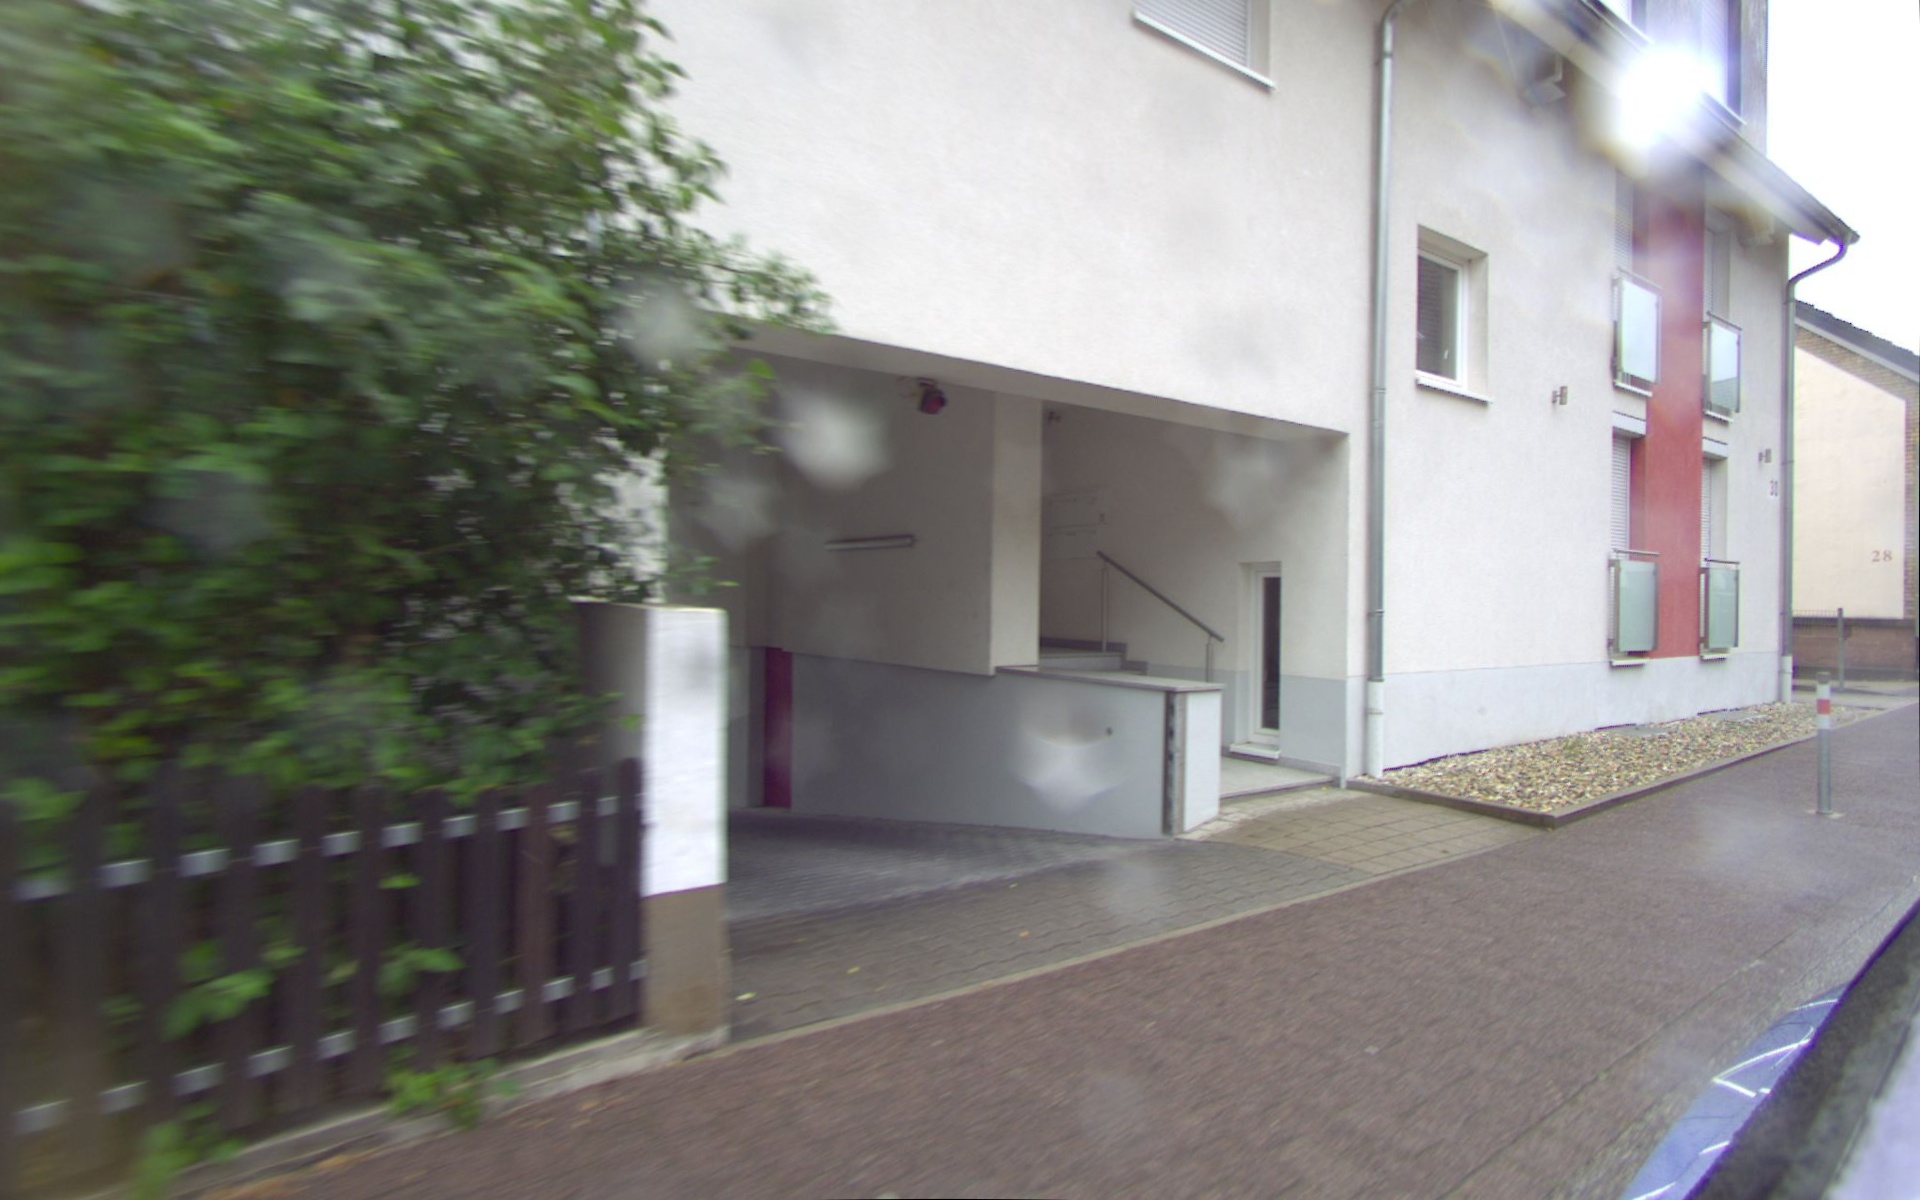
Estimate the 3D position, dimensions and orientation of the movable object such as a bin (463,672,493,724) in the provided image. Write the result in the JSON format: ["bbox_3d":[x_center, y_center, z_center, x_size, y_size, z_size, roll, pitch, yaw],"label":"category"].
[{"bbox_3d":[-11.639,2.359,24.437,0.574,1.199,0.487,0,-4,-37],"label":"movable object such as a bin"}]
